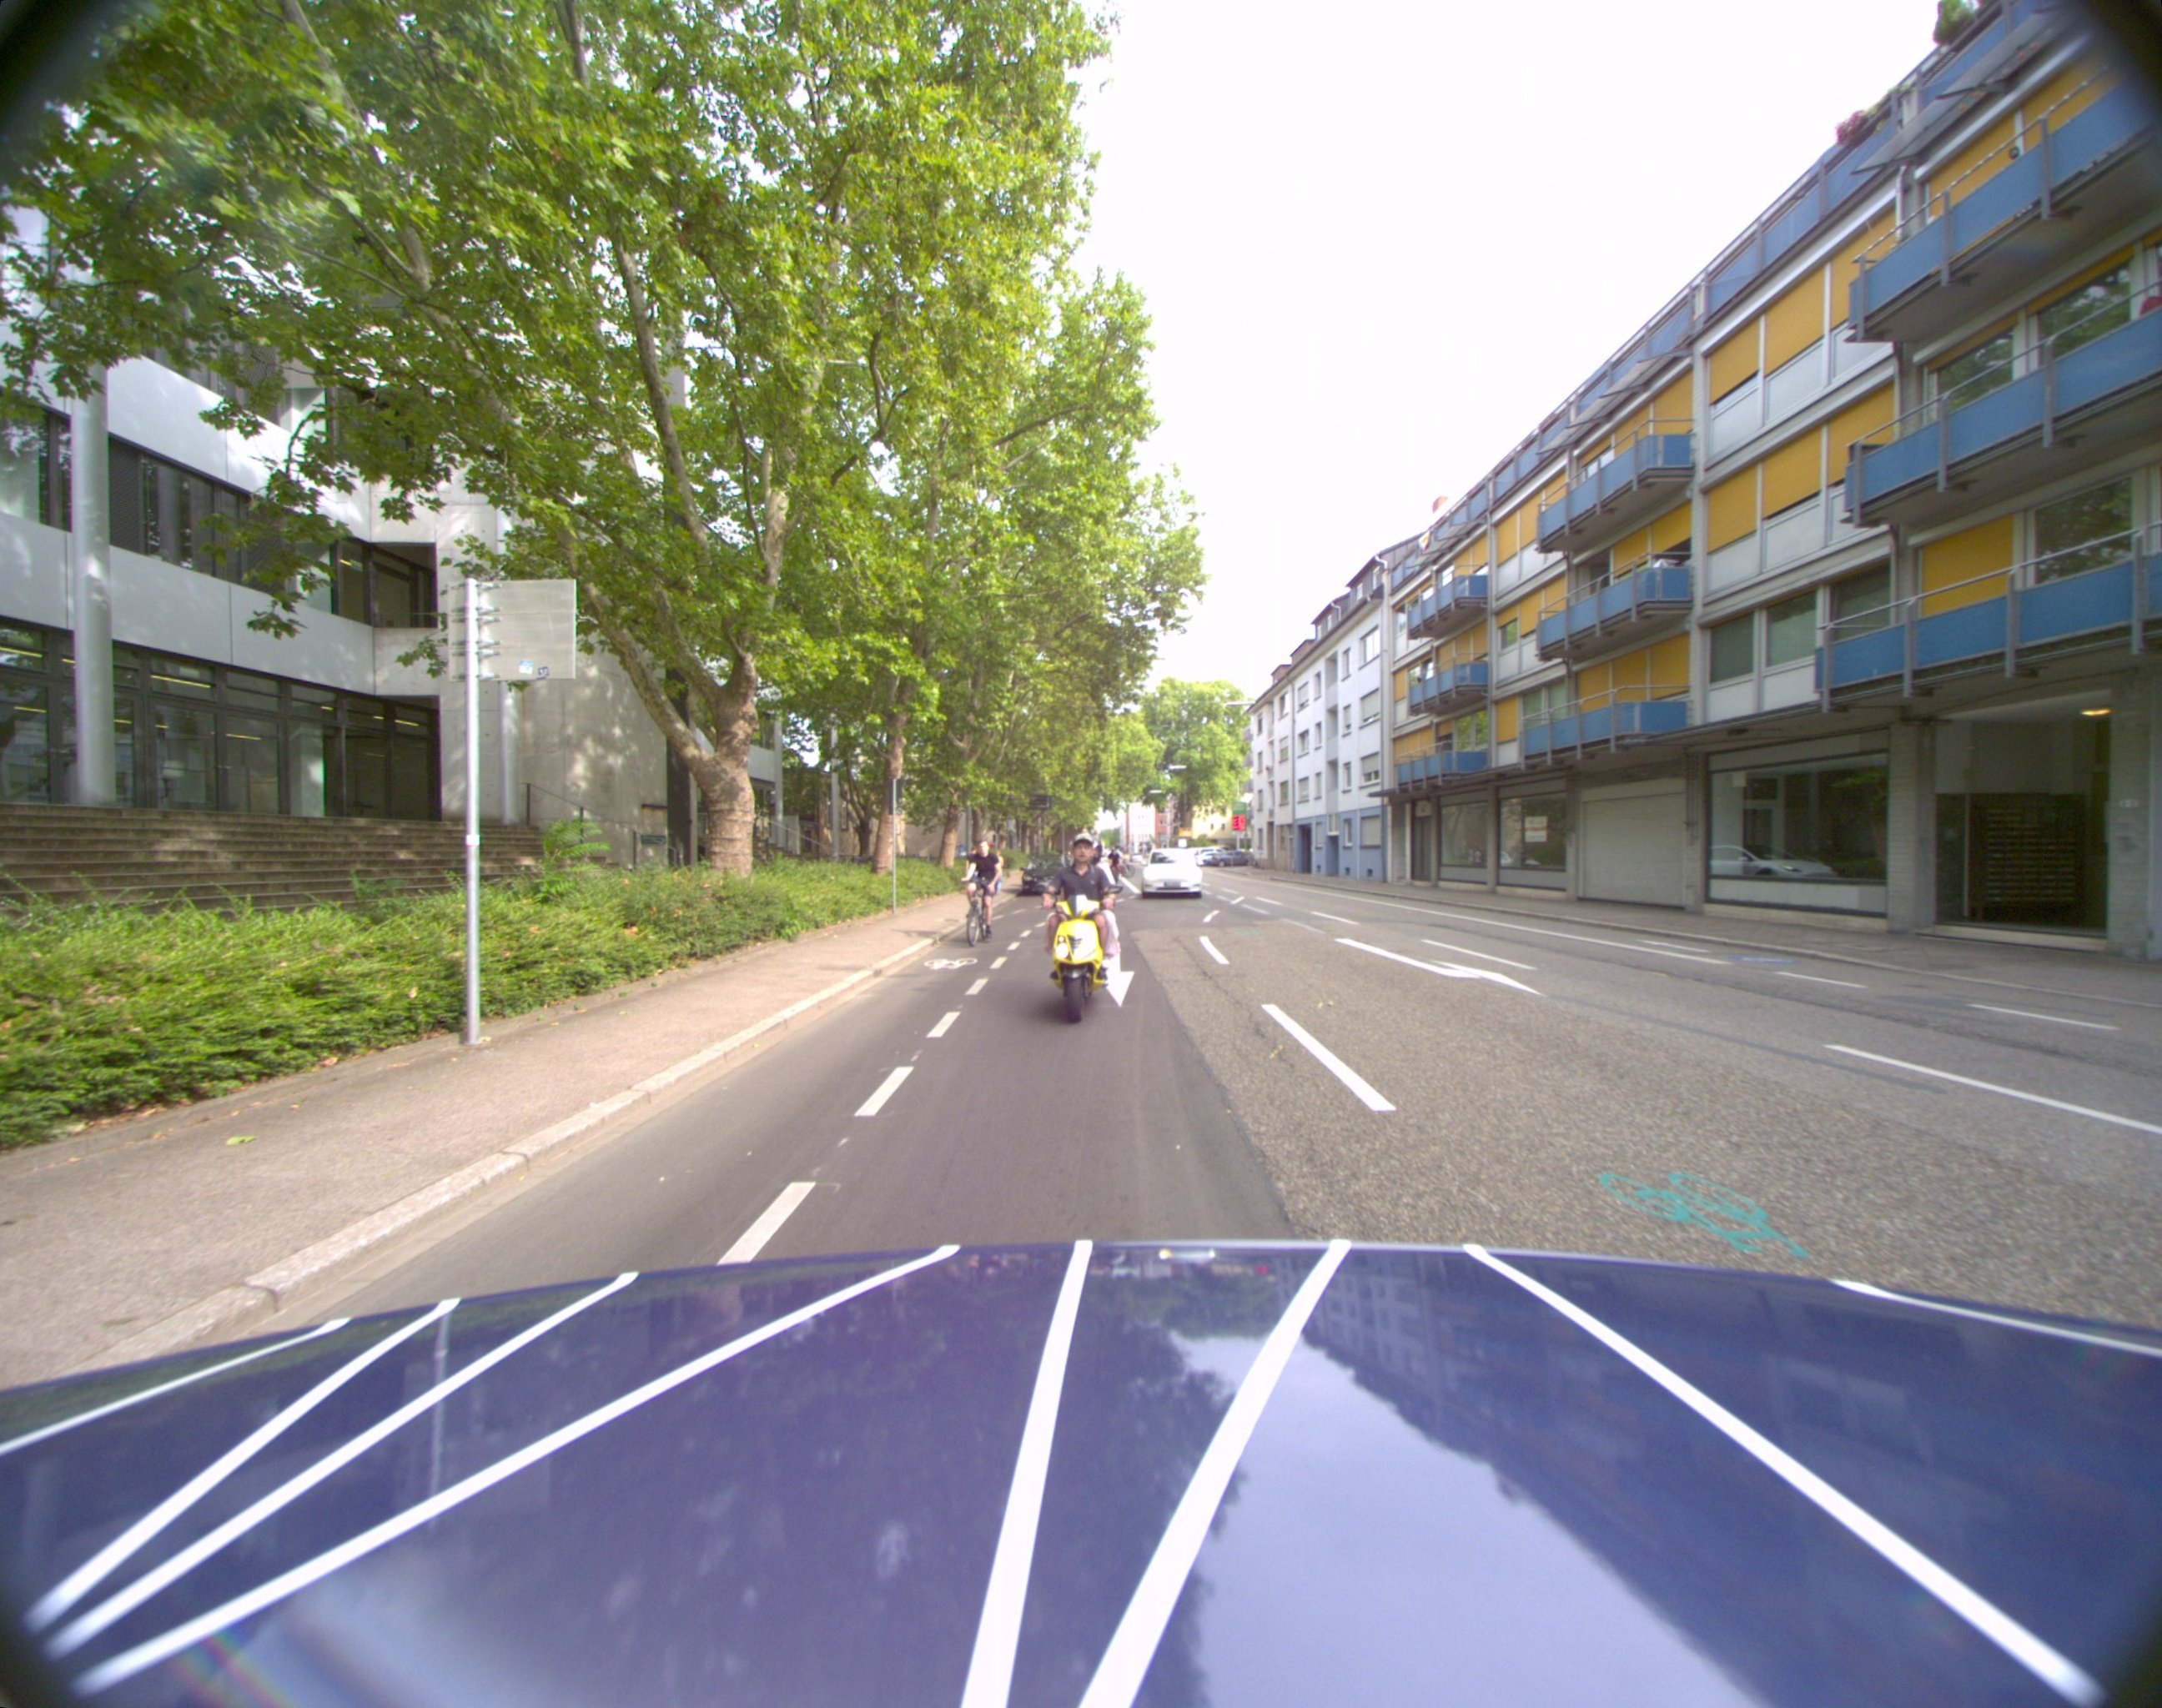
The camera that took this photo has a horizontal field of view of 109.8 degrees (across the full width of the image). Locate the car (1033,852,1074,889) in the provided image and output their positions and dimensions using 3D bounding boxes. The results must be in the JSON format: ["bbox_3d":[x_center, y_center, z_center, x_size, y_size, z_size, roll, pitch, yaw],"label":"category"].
[{"bbox_3d":[-1.193,0.698,34.213,1.539,1.534,2.599,-2,1,4],"label":"car"}]

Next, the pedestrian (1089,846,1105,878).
[{"bbox_3d":[0.927,0.443,44.266,0.873,1.806,0.780,-2,1,1],"label":"pedestrian"}]

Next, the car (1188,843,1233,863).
[{"bbox_3d":[14.661,-0.135,86.101,4.778,1.923,1.994,-3,0,2],"label":"car"}]

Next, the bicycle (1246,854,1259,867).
[{"bbox_3d":[13.171,0.466,58.405,0.598,0.945,1.662,-1,1,1],"label":"bicycle"}]

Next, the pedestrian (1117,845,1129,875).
[{"bbox_3d":[2.551,0.355,46.162,0.522,1.834,0.744,-2,1,-14],"label":"pedestrian"}]

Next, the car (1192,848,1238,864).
[{"bbox_3d":[13.427,0.202,76.524,4.281,1.442,1.874,-3,0,2],"label":"car"}]

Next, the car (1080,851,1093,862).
[{"bbox_3d":[0.753,0.359,103.834,1.602,1.438,4.105,-2,0,1],"label":"car"}]

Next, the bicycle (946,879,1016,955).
[{"bbox_3d":[-1.721,1.065,13.406,0.763,1.162,1.950,-1,1,6],"label":"bicycle"}]

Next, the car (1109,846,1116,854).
[{"bbox_3d":[10.224,-1.452,247.807,1.998,2.546,4.799,-1,0,2],"label":"car"}]

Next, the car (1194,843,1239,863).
[{"bbox_3d":[14.120,-0.081,79.339,4.221,1.837,1.924,-3,0,2],"label":"car"}]

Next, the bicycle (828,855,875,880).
[{"bbox_3d":[-10.487,0.596,34.761,1.919,1.111,0.673,1,1,1],"label":"bicycle"}]

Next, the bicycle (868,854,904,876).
[{"bbox_3d":[-9.762,0.546,38.097,1.701,1.111,0.622,0,1,-18],"label":"bicycle"}]

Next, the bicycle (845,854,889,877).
[{"bbox_3d":[-10.361,0.561,36.869,1.919,1.111,0.673,1,1,1],"label":"bicycle"}]

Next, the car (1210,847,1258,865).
[{"bbox_3d":[14.441,0.164,72.015,4.161,1.504,1.837,-3,0,2],"label":"car"}]

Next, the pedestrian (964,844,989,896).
[{"bbox_3d":[-3.694,0.552,26.895,0.716,1.790,1.033,1,1,0],"label":"pedestrian"}]

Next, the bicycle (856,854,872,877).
[{"bbox_3d":[-10.929,0.561,38.238,0.492,1.111,1.437,1,1,-4],"label":"bicycle"}]

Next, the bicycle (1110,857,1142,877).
[{"bbox_3d":[2.616,0.756,44.459,1.740,1.099,0.552,-2,1,-10],"label":"bicycle"}]

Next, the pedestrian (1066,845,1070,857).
[{"bbox_3d":[-1.993,-0.504,114.559,0.502,1.775,0.527,3,1,0],"label":"pedestrian"}]

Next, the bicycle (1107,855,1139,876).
[{"bbox_3d":[2.538,0.682,45.864,1.796,1.210,0.552,-2,1,-16],"label":"bicycle"}]

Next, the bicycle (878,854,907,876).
[{"bbox_3d":[-9.737,0.543,39.218,1.382,1.111,0.468,1,1,-6],"label":"bicycle"}]

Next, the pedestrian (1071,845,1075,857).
[{"bbox_3d":[-1.213,-0.460,114.571,0.592,1.775,0.476,3,1,0],"label":"pedestrian"}]

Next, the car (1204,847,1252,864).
[{"bbox_3d":[14.336,0.179,74.351,4.311,1.442,1.910,-3,0,2],"label":"car"}]

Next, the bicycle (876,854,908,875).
[{"bbox_3d":[-9.866,0.540,39.731,1.544,1.111,0.468,1,1,-6],"label":"bicycle"}]

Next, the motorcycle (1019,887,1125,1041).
[{"bbox_3d":[-0.023,1.012,7.874,0.904,1.190,2.631,-1,1,2],"label":"motorcycle"}]

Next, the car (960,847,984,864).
[{"bbox_3d":[-9.966,0.146,69.711,1.673,1.441,4.298,-1,-1,0],"label":"car"}]

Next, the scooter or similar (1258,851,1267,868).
[{"bbox_3d":[13.300,0.369,55.695,0.350,1.214,1.202,-1,1,1],"label":"scooter or similar"}]

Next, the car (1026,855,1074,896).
[{"bbox_3d":[-1.174,0.794,30.000,1.702,1.417,4.421,-2,1,-1],"label":"car"}]

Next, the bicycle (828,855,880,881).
[{"bbox_3d":[-10.049,0.602,33.710,2.084,1.111,0.673,1,1,1],"label":"bicycle"}]

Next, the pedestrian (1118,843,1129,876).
[{"bbox_3d":[2.505,0.339,44.856,0.476,1.923,0.744,-2,1,-10],"label":"pedestrian"}]

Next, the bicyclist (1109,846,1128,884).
[{"bbox_3d":[1.630,0.467,33.100,0.748,1.590,0.819,-1,1,2],"label":"bicyclist"}]

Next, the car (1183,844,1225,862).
[{"bbox_3d":[14.316,-0.115,88.515,4.627,1.848,1.950,-3,0,2],"label":"car"}]

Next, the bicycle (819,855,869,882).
[{"bbox_3d":[-10.101,0.623,32.374,1.919,1.111,0.673,1,1,1],"label":"bicycle"}]

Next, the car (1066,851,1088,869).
[{"bbox_3d":[-0.339,0.504,65.107,1.647,1.439,3.881,-2,0,-3],"label":"car"}]

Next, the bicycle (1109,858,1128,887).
[{"bbox_3d":[1.636,0.783,33.091,0.763,1.162,1.949,-1,1,2],"label":"bicycle"}]

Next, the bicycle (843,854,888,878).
[{"bbox_3d":[-10.118,0.572,35.777,1.919,1.111,0.673,1,1,1],"label":"bicycle"}]

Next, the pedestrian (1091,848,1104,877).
[{"bbox_3d":[0.966,0.502,45.045,0.723,1.648,0.655,-2,1,1],"label":"pedestrian"}]

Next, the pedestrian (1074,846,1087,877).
[{"bbox_3d":[-0.017,0.439,45.891,0.723,1.844,0.703,-2,1,1],"label":"pedestrian"}]

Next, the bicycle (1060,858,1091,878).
[{"bbox_3d":[-0.324,0.817,45.494,1.773,1.125,0.462,-2,1,-10],"label":"bicycle"}]

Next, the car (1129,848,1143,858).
[{"bbox_3d":[7.979,-0.151,110.472,1.762,1.419,4.098,1,1,0],"label":"car"}]

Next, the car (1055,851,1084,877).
[{"bbox_3d":[-0.758,0.616,48.491,1.685,1.507,4.543,-3,1,-1],"label":"car"}]

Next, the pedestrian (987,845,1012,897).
[{"bbox_3d":[-2.873,0.576,26.893,0.712,1.773,1.033,1,1,0],"label":"pedestrian"}]

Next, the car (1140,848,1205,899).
[{"bbox_3d":[3.075,0.590,25.974,1.999,1.557,4.552,-1,1,5],"label":"car"}]

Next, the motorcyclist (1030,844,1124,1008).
[{"bbox_3d":[-0.024,0.706,7.771,0.904,1.608,0.691,-1,1,2],"label":"motorcyclist"}]

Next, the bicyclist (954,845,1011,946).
[{"bbox_3d":[-1.718,0.708,13.425,0.764,1.699,0.918,-1,1,5],"label":"bicyclist"}]

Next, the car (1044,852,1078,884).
[{"bbox_3d":[-0.980,0.679,39.087,1.532,1.493,3.660,-2,1,1],"label":"car"}]

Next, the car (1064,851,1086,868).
[{"bbox_3d":[-0.502,0.463,69.601,1.758,1.439,4.218,-2,0,2],"label":"car"}]

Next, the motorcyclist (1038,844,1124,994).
[{"bbox_3d":[0.013,0.694,8.480,0.904,1.608,0.691,-1,1,2],"label":"motorcyclist"}]
